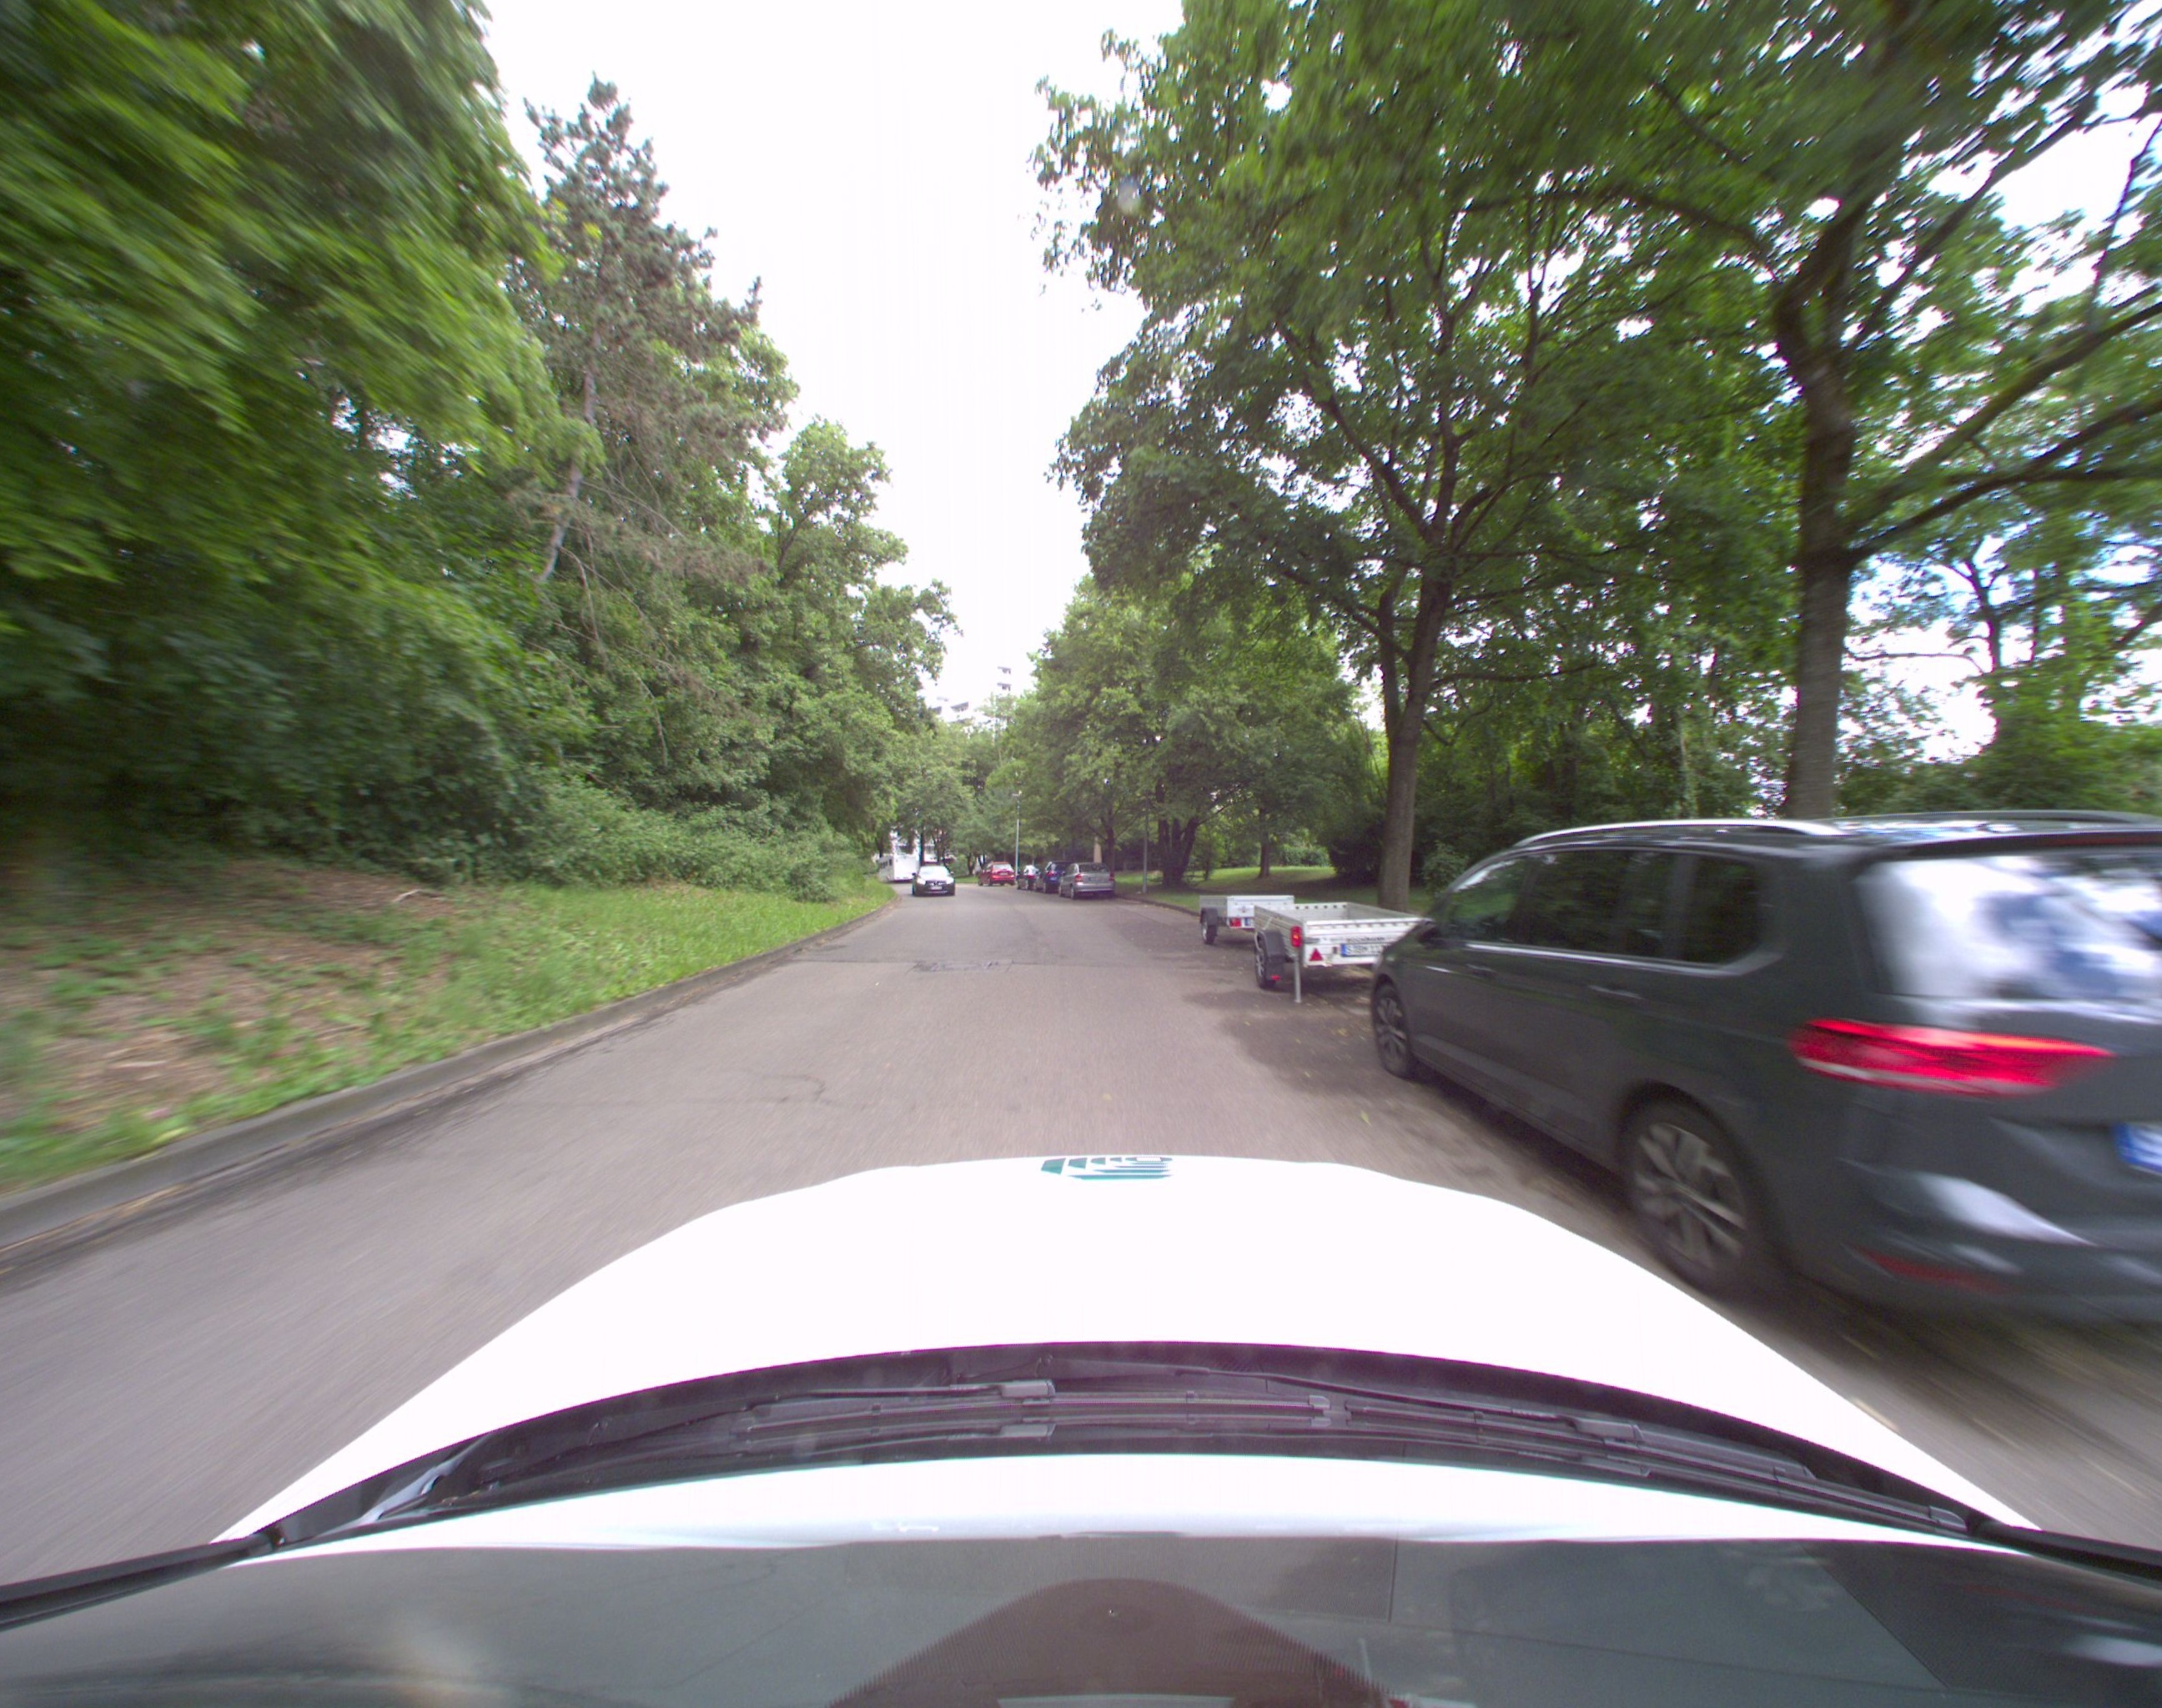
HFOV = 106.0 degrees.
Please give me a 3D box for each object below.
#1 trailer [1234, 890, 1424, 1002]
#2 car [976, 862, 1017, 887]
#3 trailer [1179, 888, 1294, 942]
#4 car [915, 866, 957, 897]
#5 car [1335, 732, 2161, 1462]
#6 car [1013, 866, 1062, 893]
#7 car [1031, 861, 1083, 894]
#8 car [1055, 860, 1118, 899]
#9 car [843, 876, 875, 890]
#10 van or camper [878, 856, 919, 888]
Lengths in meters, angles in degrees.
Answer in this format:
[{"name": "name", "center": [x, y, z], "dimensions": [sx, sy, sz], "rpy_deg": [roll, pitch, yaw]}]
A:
[{"name": "trailer", "center": [2.937, 1.038, 10.392], "dimensions": [1.352, 0.969, 3.894], "rpy_deg": [1, 0, 2]}, {"name": "car", "center": [-5.668, 1.391, 54.435], "dimensions": [1.744, 1.562, 3.971], "rpy_deg": [-1, -2, -21]}, {"name": "trailer", "center": [2.788, 1.087, 15.186], "dimensions": [1.360, 0.848, 3.274], "rpy_deg": [1, -2, -3]}, {"name": "car", "center": [-6.943, 1.348, 39.422], "dimensions": [1.789, 1.389, 4.479], "rpy_deg": [1, -2, -8]}, {"name": "car", "center": [2.962, 0.597, 4.296], "dimensions": [1.769, 1.662, 4.840], "rpy_deg": [0, -1, 0]}, {"name": "car", "center": [-2.414, 1.358, 44.050], "dimensions": [1.754, 1.337, 4.391], "rpy_deg": [0, -1, -16]}, {"name": "car", "center": [-1.216, 1.136, 39.460], "dimensions": [1.716, 1.510, 4.161], "rpy_deg": [1, -2, -13]}, {"name": "car", "center": [0.139, 1.033, 32.914], "dimensions": [1.719, 1.431, 3.932], "rpy_deg": [-1, -1, -12]}, {"name": "car", "center": [-25.265, 3.305, 92.594], "dimensions": [2.009, 1.473, 3.954], "rpy_deg": [2, -3, -38]}, {"name": "van or camper", "center": [-18.333, 1.769, 81.498], "dimensions": [2.445, 3.007, 5.157], "rpy_deg": [-1, -1, -31]}]
